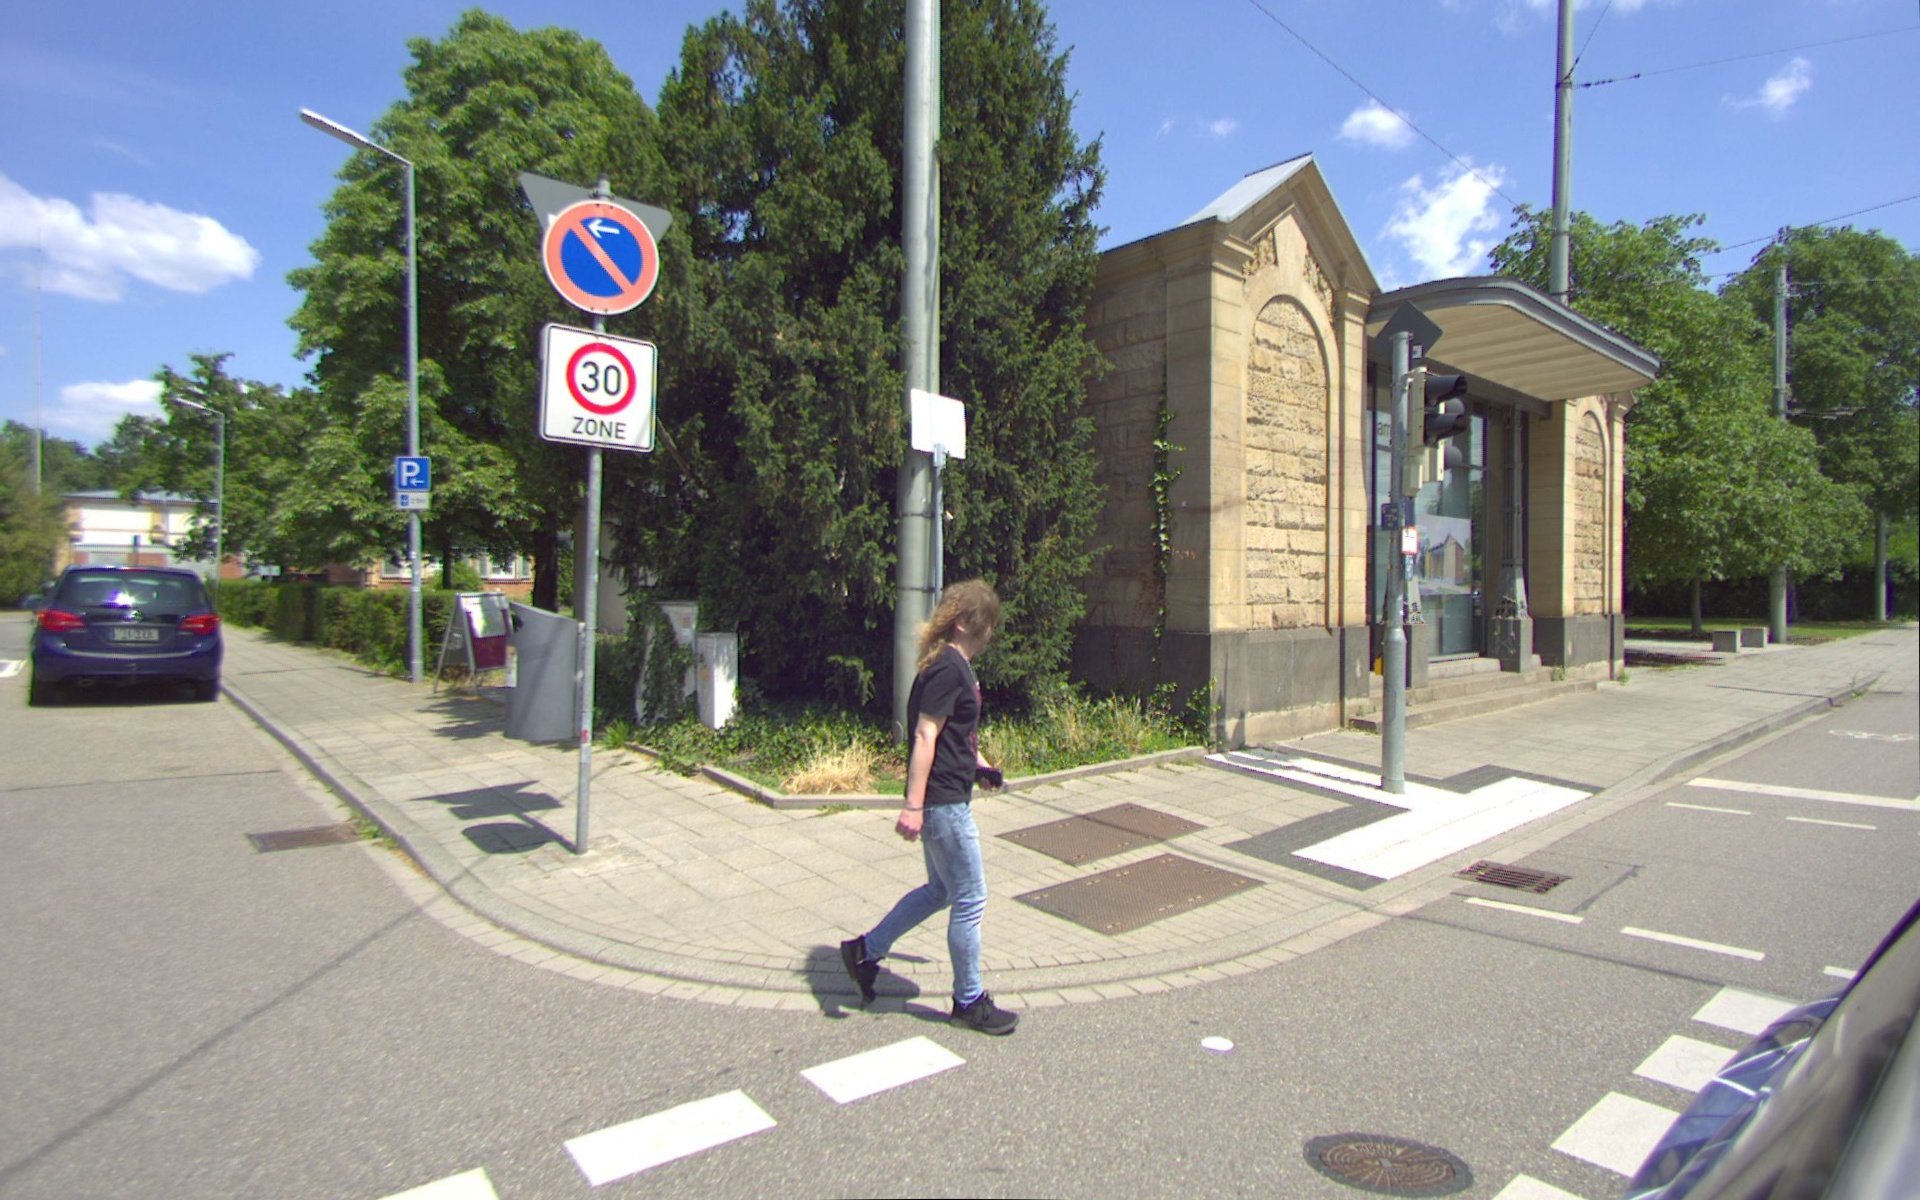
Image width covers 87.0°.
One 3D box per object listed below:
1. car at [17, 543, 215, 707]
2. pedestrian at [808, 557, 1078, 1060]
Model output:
[{"bbox_3d":[-10.548,0.209,12.618,1.646,1.722,3.799,-2,2,-42],"label":"car"},{"bbox_3d":[-0.061,0.639,3.628,0.771,1.575,0.578,-2,3,-38],"label":"pedestrian"}]
